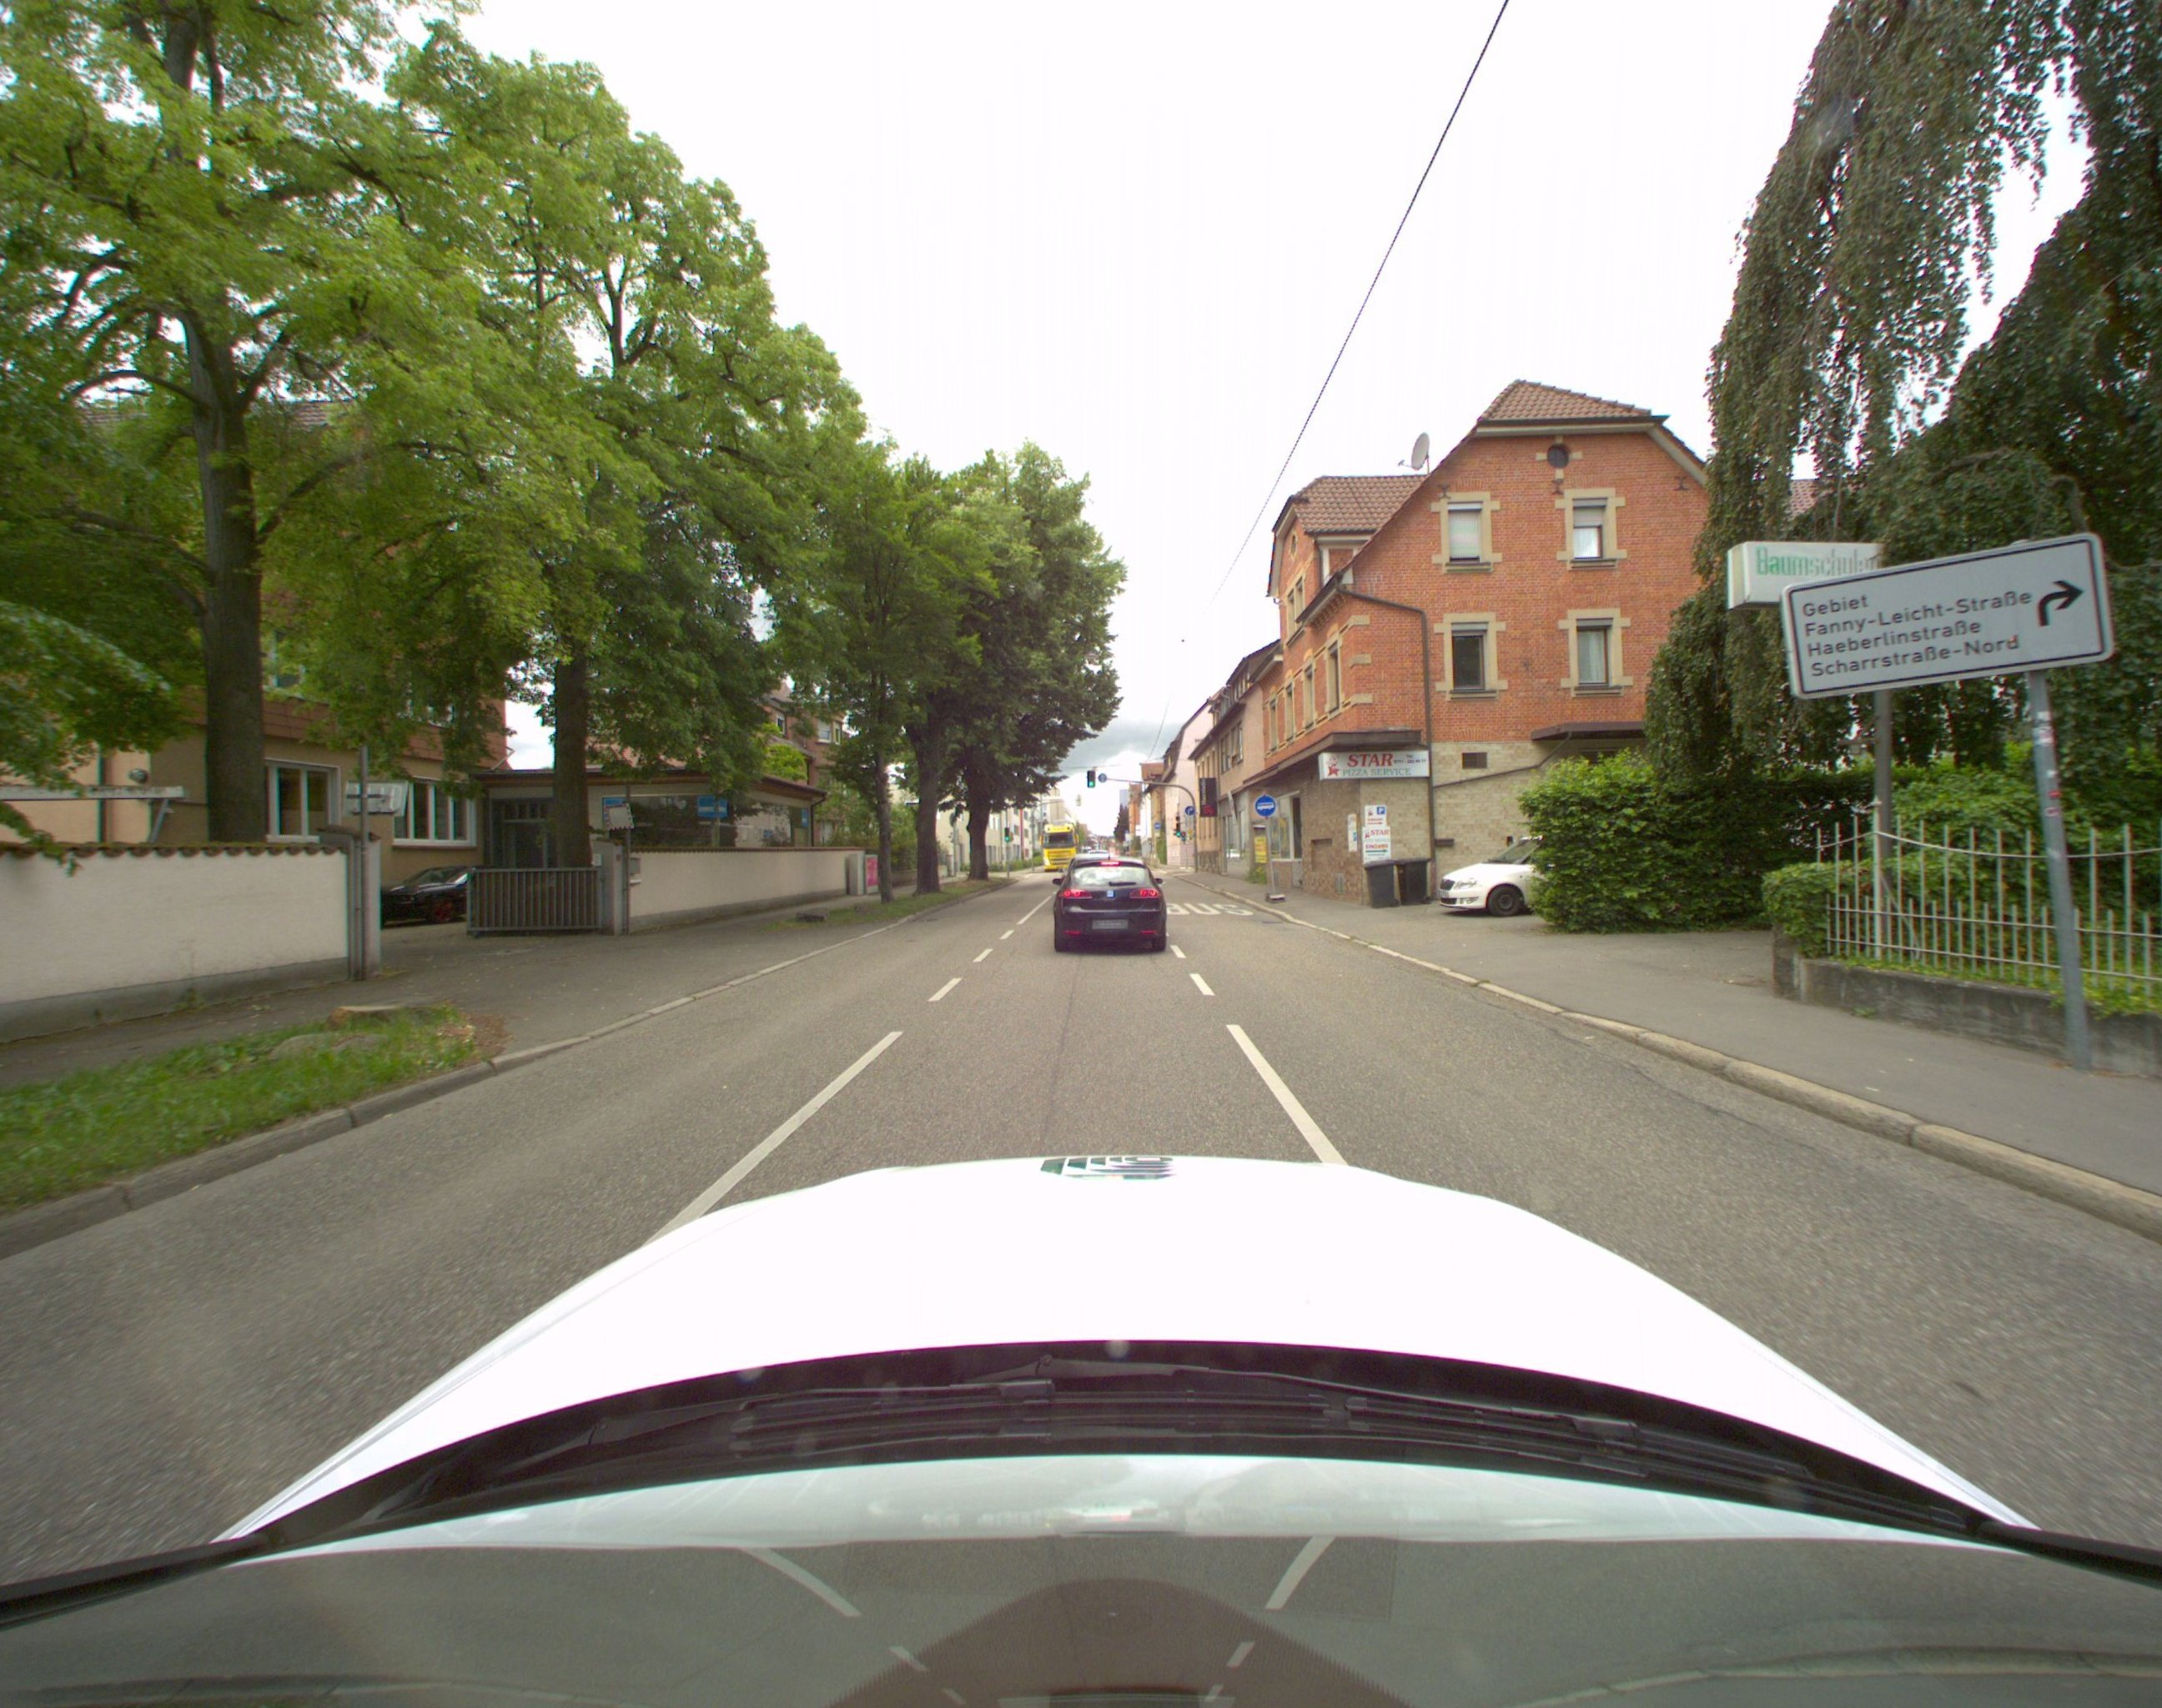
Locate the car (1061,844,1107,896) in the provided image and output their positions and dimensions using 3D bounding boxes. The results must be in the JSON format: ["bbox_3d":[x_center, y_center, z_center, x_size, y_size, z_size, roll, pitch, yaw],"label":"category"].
[{"bbox_3d":[0.134,0.528,28.746,1.526,1.693,3.694,-1,0,1],"label":"car"}]

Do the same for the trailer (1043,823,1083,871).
[{"bbox_3d":[-1.412,-0.501,72.508,2.847,3.808,14.396,-1,0,2],"label":"trailer"}]

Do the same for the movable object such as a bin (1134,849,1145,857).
[{"bbox_3d":[10.579,-0.096,147.077,1.811,1.437,1.994,-1,0,2],"label":"movable object such as a bin"}]

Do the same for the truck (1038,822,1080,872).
[{"bbox_3d":[-1.641,-0.508,65.118,2.833,3.782,7.673,-1,0,2],"label":"truck"}]

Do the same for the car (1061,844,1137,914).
[{"bbox_3d":[0.489,0.615,21.922,1.836,1.693,4.001,-1,0,1],"label":"car"}]

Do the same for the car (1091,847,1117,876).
[{"bbox_3d":[1.403,0.476,50.163,1.526,1.693,3.694,-1,0,1],"label":"car"}]

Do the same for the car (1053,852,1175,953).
[{"bbox_3d":[0.530,0.711,13.726,1.752,1.442,4.001,-1,0,1],"label":"car"}]

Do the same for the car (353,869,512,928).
[{"bbox_3d":[-16.489,1.091,20.907,1.336,1.330,3.398,-1,0,1],"label":"car"}]

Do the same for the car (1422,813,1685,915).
[{"bbox_3d":[8.899,0.189,15.557,4.017,1.470,1.600,-6,0,-1],"label":"car"}]

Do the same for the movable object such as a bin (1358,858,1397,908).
[{"bbox_3d":[6.716,0.650,18.472,0.604,1.100,0.623,-3,-1,1],"label":"movable object such as a bin"}]

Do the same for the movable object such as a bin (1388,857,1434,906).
[{"bbox_3d":[7.466,0.608,18.463,0.696,1.059,0.724,-3,-1,1],"label":"movable object such as a bin"}]
